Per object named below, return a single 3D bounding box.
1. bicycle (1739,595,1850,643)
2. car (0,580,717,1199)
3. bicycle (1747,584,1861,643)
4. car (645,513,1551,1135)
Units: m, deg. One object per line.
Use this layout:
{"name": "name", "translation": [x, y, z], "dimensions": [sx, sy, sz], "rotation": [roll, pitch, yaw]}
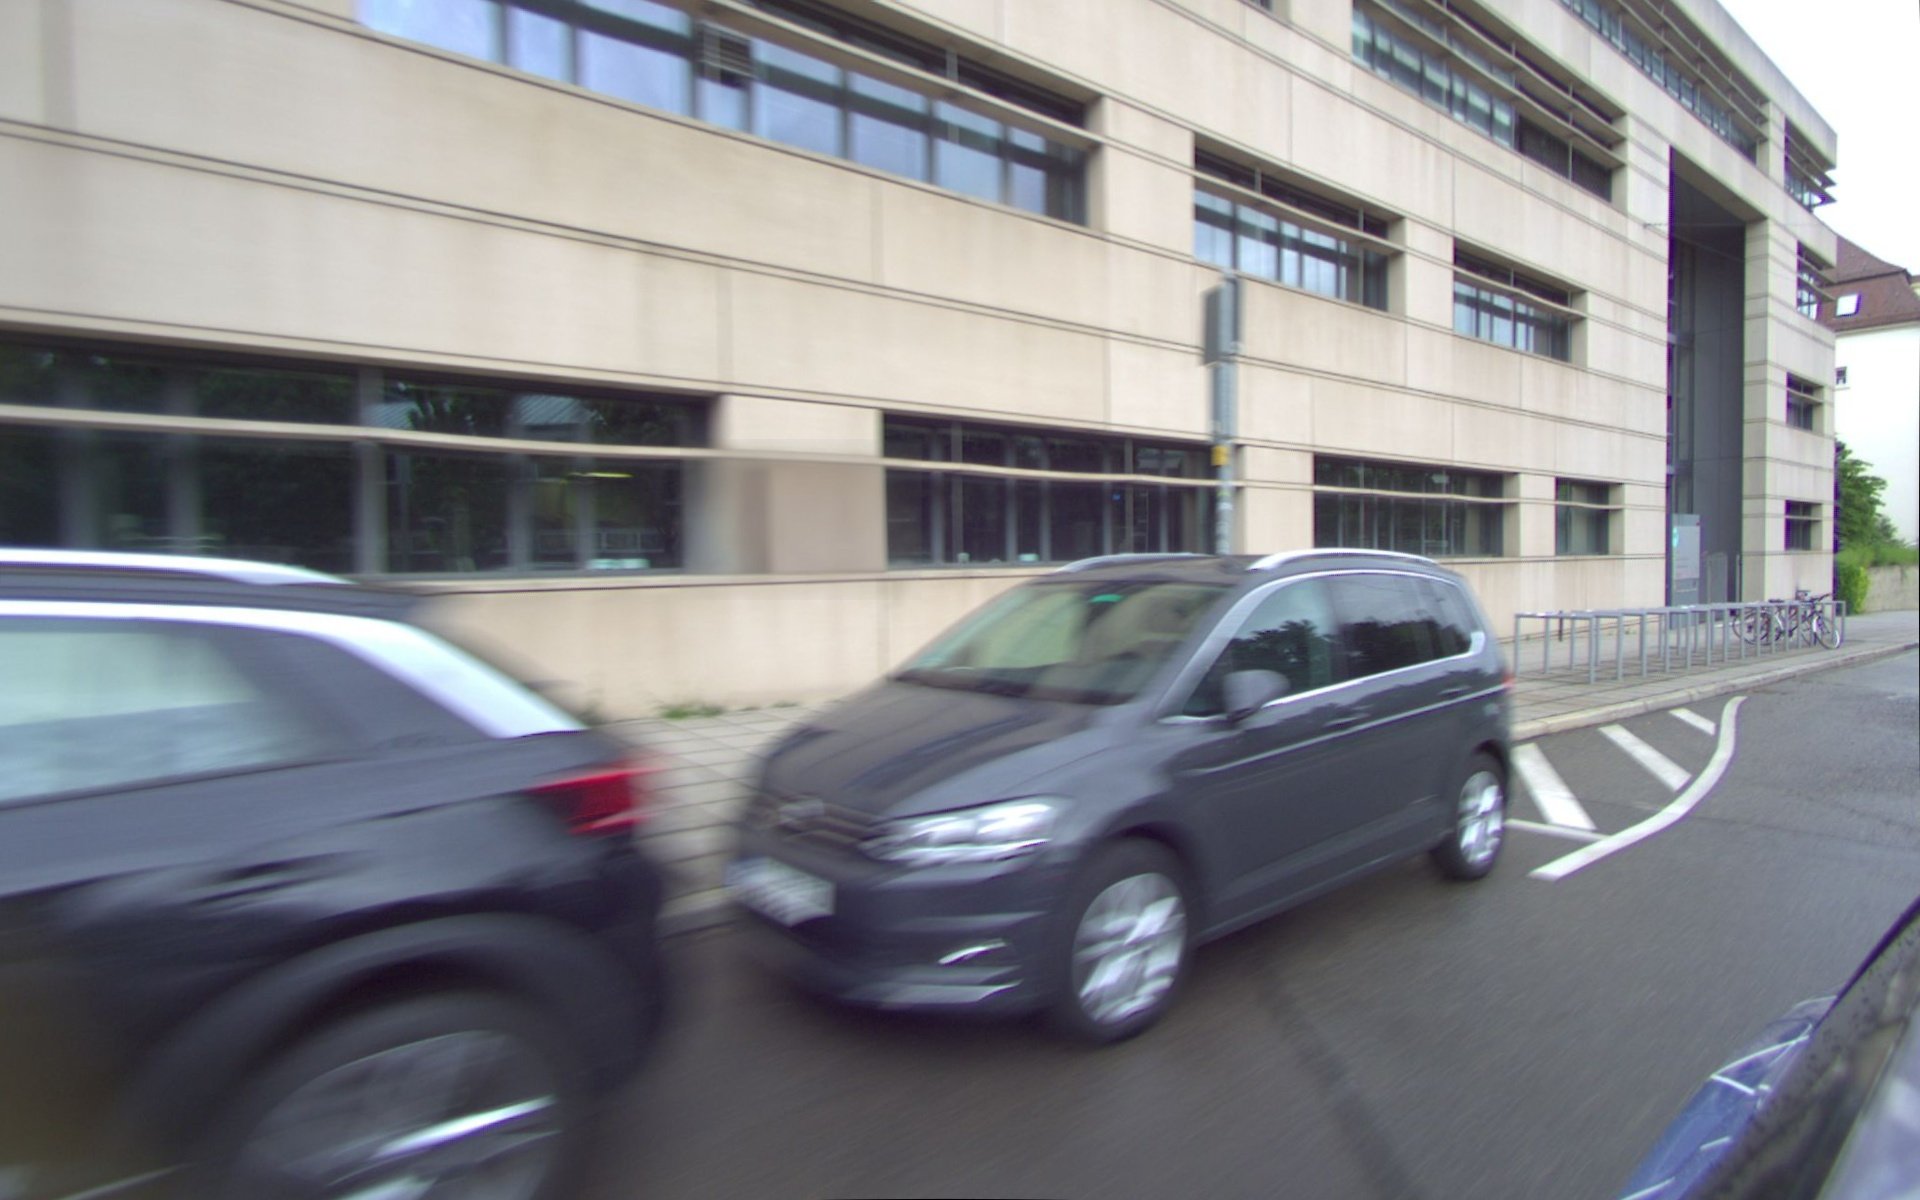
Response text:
{"name": "bicycle", "translation": [17.864, 0.390, 21.690], "dimensions": [0.648, 0.965, 1.762], "rotation": [0, 1, -41]}
{"name": "car", "translation": [-2.651, 0.761, 1.759], "dimensions": [3.985, 1.531, 1.729], "rotation": [-1, -1, -39]}
{"name": "bicycle", "translation": [17.331, 0.254, 20.805], "dimensions": [0.649, 1.133, 1.731], "rotation": [0, 1, -43]}
{"name": "car", "translation": [0.959, 0.567, 4.726], "dimensions": [4.316, 1.624, 1.774], "rotation": [0, 0, -40]}
